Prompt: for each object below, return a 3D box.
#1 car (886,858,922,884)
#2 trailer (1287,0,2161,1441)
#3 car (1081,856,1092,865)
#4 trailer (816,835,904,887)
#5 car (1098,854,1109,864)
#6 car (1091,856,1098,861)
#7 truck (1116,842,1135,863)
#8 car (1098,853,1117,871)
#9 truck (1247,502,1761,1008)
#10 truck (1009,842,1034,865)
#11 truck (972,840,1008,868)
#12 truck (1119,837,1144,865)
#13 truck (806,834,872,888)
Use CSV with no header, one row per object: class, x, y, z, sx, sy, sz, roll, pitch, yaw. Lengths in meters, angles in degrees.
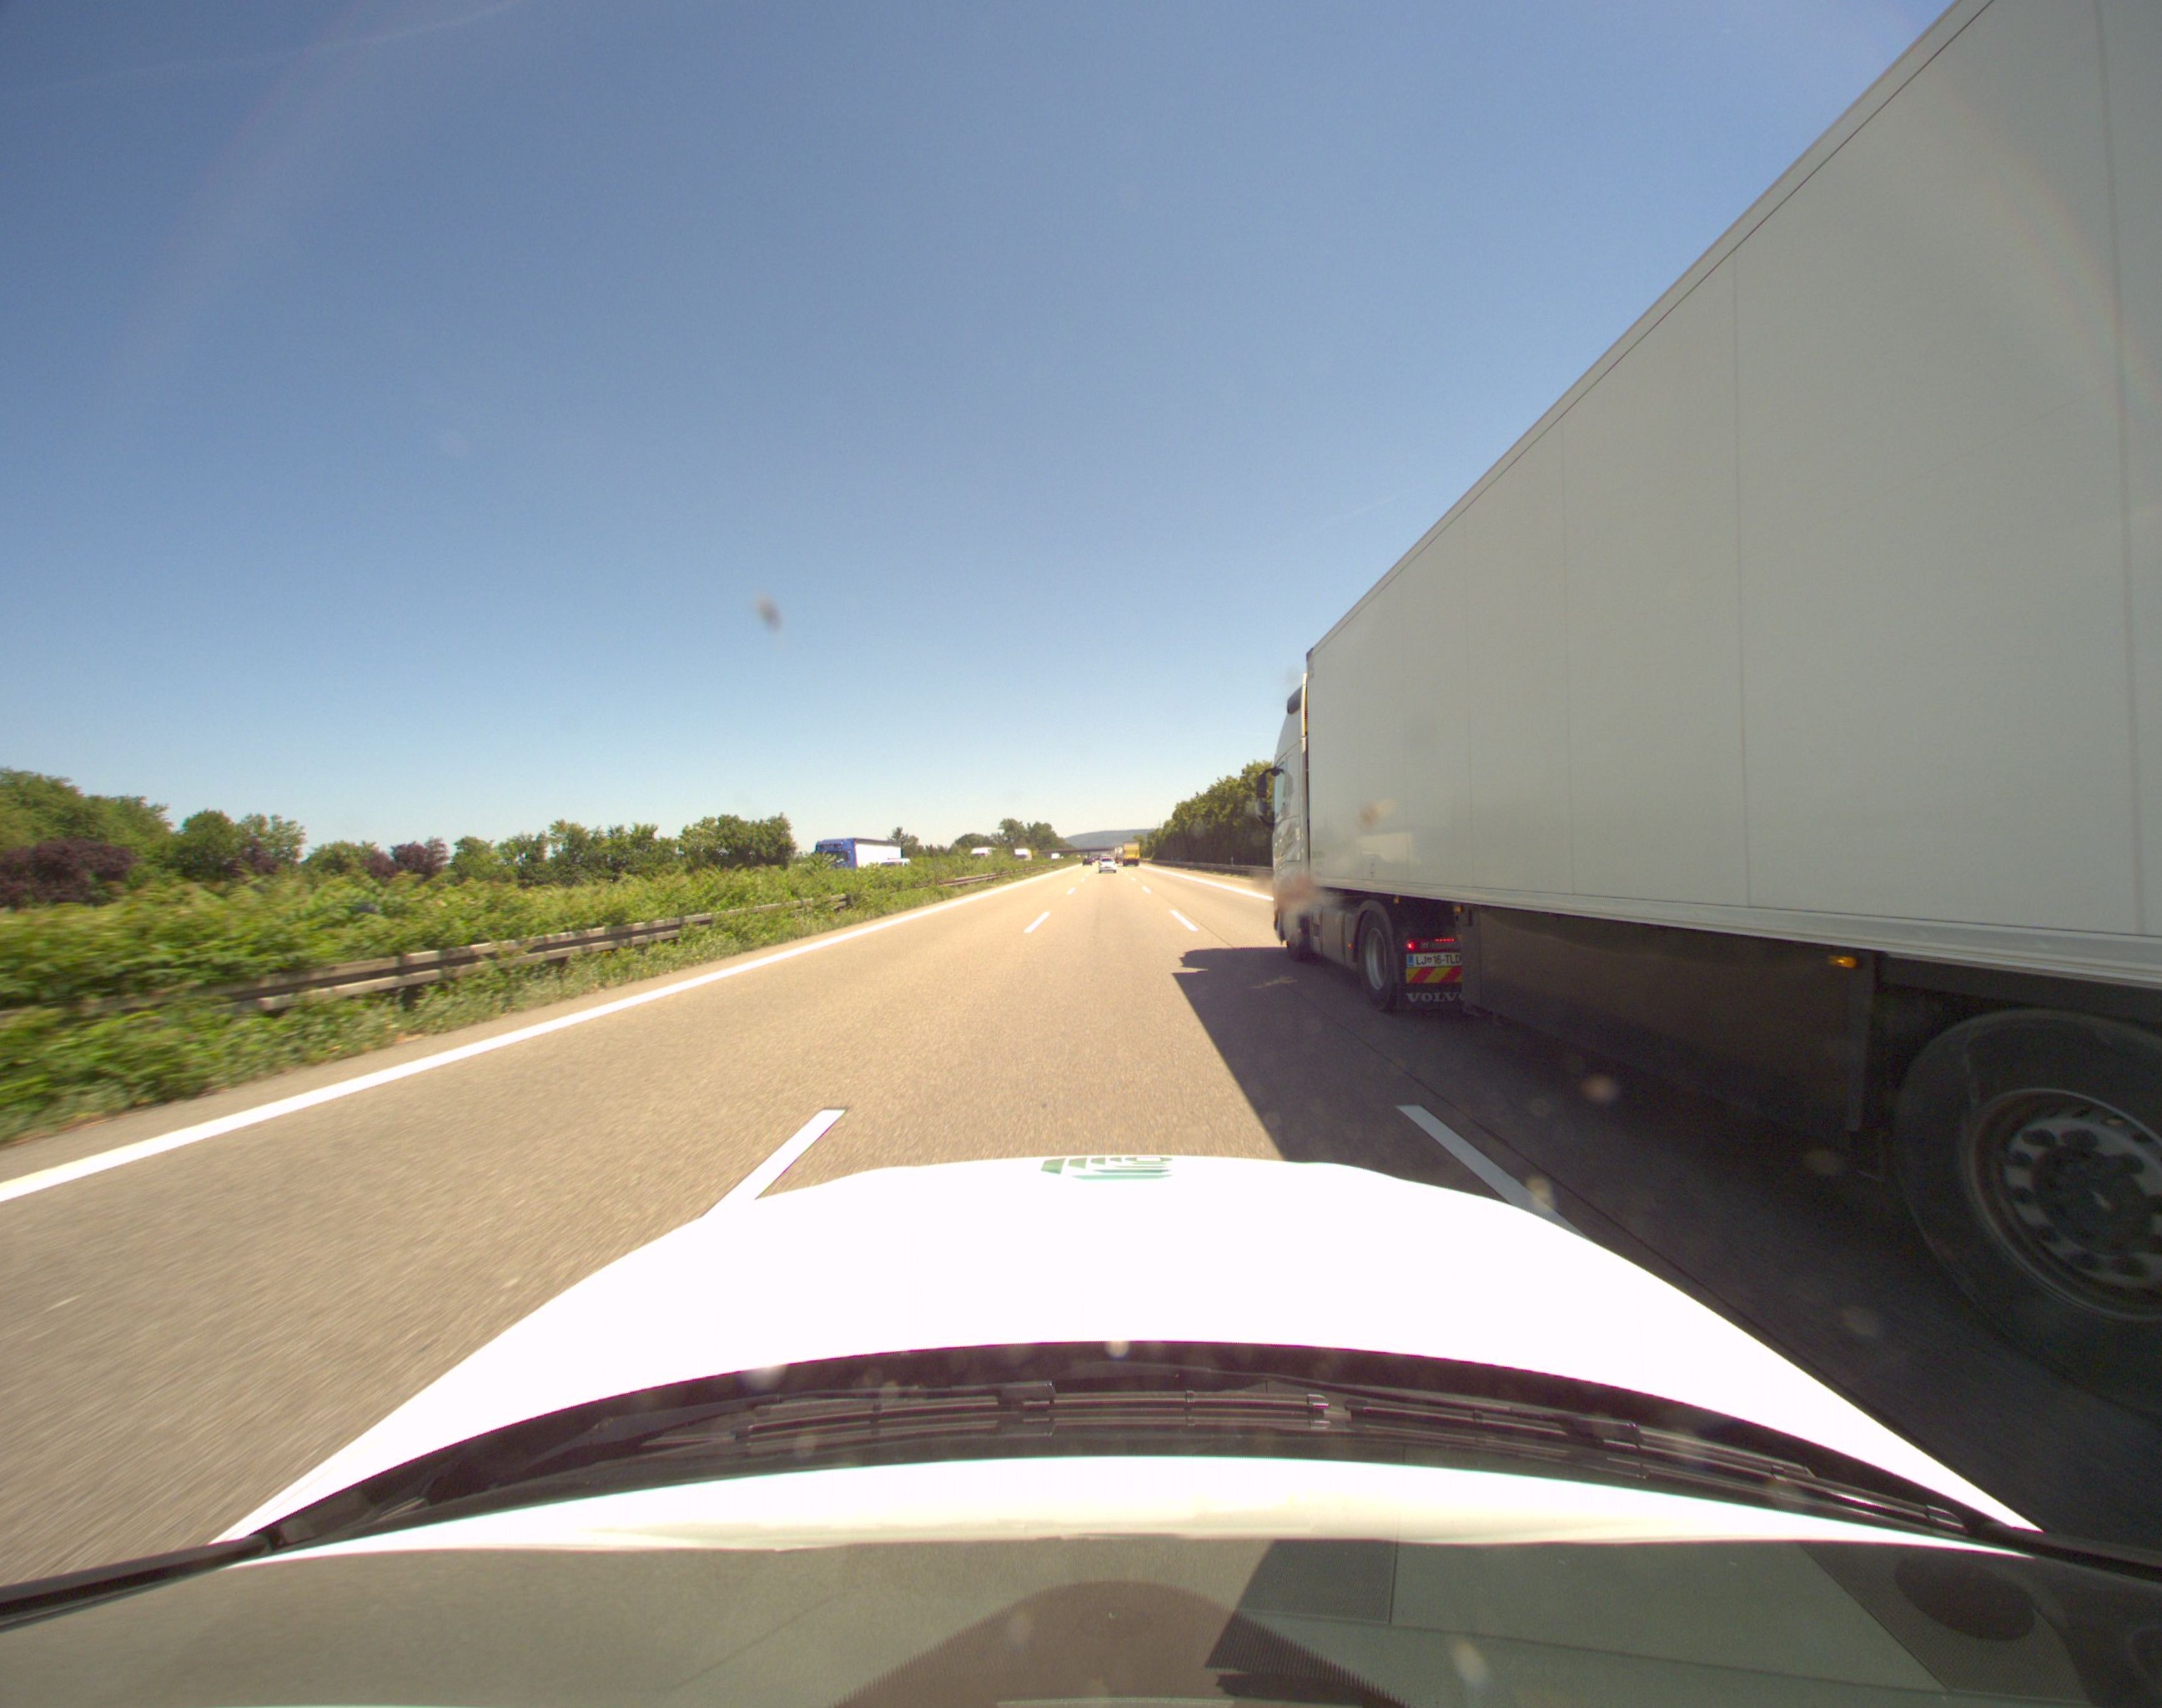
car,-13.994,1.315,64.631,1.832,2.013,4.002,-1,0,2
trailer,4.157,-0.824,3.862,3.206,4.345,13.633,0,0,1
car,0.980,1.203,154.306,1.986,1.712,4.001,0,0,1
trailer,-18.409,0.521,69.307,3.122,3.832,14.303,-2,0,2
car,3.947,0.828,141.867,1.779,1.712,4.001,0,0,1
car,3.937,1.321,231.817,1.788,1.551,4.002,-1,0,2
truck,10.699,-0.347,195.773,4.255,4.652,13.868,-1,0,2
car,2.556,0.762,79.862,1.726,1.684,4.001,-2,0,1
truck,4.316,-0.866,10.326,3.206,4.345,6.592,0,0,1
truck,-12.591,-0.150,173.746,3.856,4.664,13.868,0,0,2
truck,-15.061,-0.001,136.442,3.856,4.345,13.868,0,0,2
truck,8.384,-0.507,135.764,3.856,4.345,13.868,0,0,2
truck,-18.586,0.516,62.890,3.122,3.832,5.836,-2,0,1
